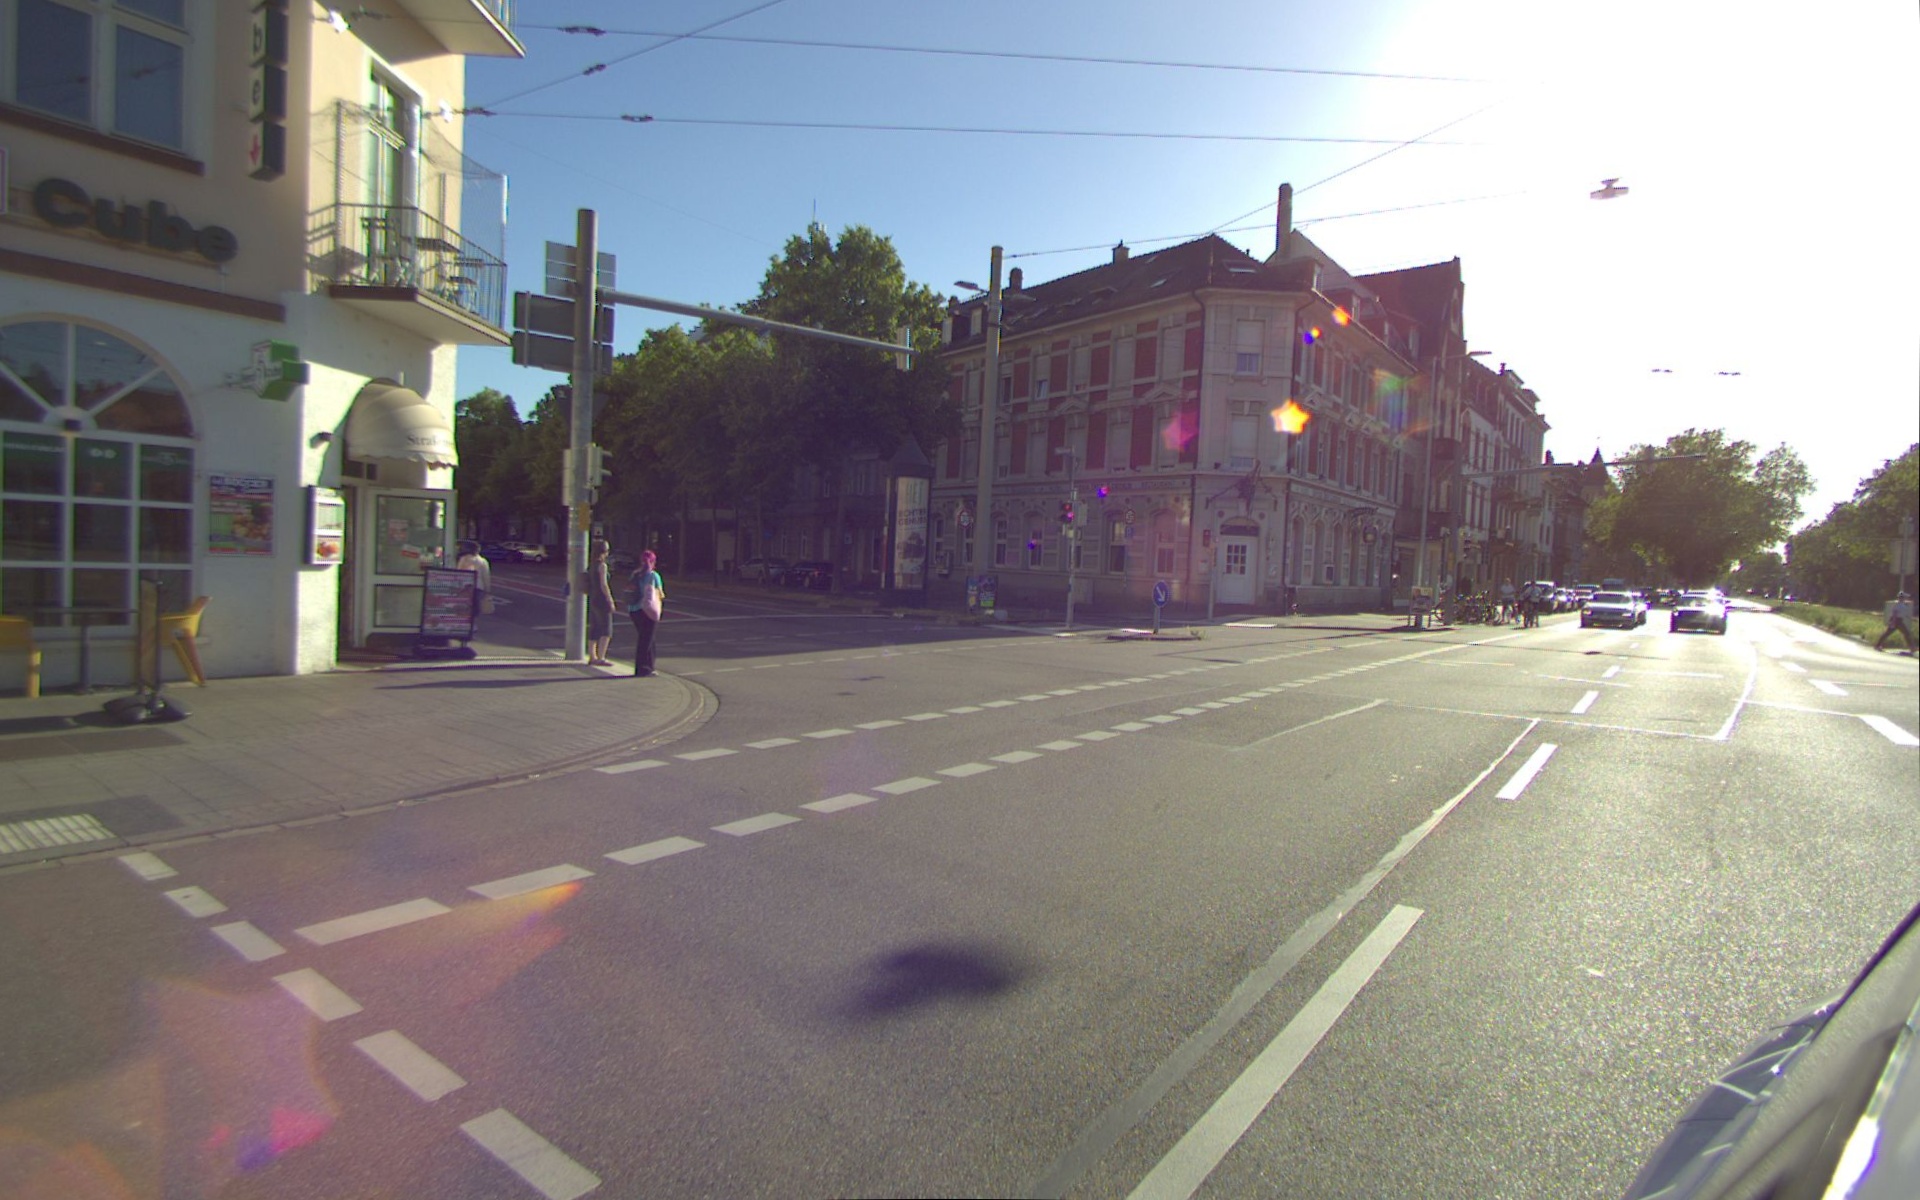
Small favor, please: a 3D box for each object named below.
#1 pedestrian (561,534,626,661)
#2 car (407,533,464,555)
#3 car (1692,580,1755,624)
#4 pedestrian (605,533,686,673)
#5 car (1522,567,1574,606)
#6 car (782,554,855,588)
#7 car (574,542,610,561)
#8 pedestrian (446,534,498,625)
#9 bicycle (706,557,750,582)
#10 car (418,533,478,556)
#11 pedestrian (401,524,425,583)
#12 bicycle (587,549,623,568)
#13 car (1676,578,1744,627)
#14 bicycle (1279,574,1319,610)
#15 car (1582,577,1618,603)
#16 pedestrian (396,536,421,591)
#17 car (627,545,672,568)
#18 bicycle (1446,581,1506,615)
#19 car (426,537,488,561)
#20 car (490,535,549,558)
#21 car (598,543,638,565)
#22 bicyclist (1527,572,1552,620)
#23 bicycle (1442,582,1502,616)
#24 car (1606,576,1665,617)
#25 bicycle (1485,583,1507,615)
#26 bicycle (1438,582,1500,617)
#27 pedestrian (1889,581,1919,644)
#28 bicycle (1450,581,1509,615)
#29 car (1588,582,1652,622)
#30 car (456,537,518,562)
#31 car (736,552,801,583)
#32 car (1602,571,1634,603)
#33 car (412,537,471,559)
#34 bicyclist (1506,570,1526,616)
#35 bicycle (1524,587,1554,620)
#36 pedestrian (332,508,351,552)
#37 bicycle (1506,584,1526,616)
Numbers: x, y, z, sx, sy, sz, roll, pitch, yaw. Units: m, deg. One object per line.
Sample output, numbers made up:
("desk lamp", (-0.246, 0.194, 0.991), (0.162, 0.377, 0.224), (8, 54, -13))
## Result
("pedestrian", (-4.973, -0.035, 13.719), (0.621, 1.662, 0.552), (2, 2, -39))
("car", (-42.111, -4.504, 81.268), (3.916, 1.564, 2.005), (1, 3, -24))
("car", (32.451, 0.044, 43.053), (1.945, 1.688, 3.947), (4, 3, 37))
("pedestrian", (-3.912, 0.039, 12.586), (0.665, 1.661, 0.578), (4, 1, -39))
("car", (33.124, -0.785, 56.927), (1.945, 1.988, 4.360), (4, 3, 37))
("car", (-7.278, -1.515, 51.718), (1.963, 1.515, 4.033), (0, 4, -38))
("car", (-31.564, -4.162, 86.774), (1.962, 1.515, 4.037), (1, 3, -34))
("pedestrian", (-8.606, -0.365, 17.855), (0.682, 1.542, 0.660), (1, 3, -37))
("bicycle", (-10.900, -1.437, 47.520), (1.913, 1.080, 0.583), (3, 2, 2))
("car", (-38.271, -4.141, 75.739), (3.916, 1.564, 2.005), (1, 3, -24))
("pedestrian", (-17.471, -1.495, 32.334), (0.570, 1.858, 0.633), (1, 3, -36))
("bicycle", (-21.336, -2.484, 60.817), (1.913, 1.080, 0.583), (3, 2, 2))
("car", (28.863, 0.059, 38.958), (1.945, 1.688, 3.947), (4, 3, 37))
("bicycle", (11.906, -0.274, 35.473), (0.544, 1.205, 1.937), (5, 3, 42))
("car", (50.969, -0.830, 80.575), (1.945, 1.884, 4.739), (4, 3, 37))
("pedestrian", (-16.942, -1.116, 31.093), (0.543, 1.661, 0.537), (0, 3, -41))
("car", (-22.458, -3.169, 73.131), (1.962, 1.515, 4.037), (1, 3, -34))
("bicycle", (20.339, -0.109, 39.941), (1.959, 1.205, 0.670), (5, 3, 39))
("car", (-36.480, -3.701, 73.564), (3.916, 1.564, 2.005), (1, 3, -24))
("car", (-32.559, -3.958, 74.900), (3.916, 1.564, 2.005), (1, 3, -21))
("car", (-27.316, -3.675, 80.739), (1.962, 1.515, 4.037), (1, 3, -34))
("bicyclist", (21.983, -0.167, 38.396), (0.599, 1.785, 0.863), (4, 3, 40))
("bicycle", (19.945, -0.064, 39.431), (1.959, 1.205, 0.670), (5, 3, 39))
("car", (30.951, -0.180, 46.302), (1.945, 1.688, 3.947), (4, 3, 37))
("bicycle", (21.810, -0.066, 41.197), (0.673, 1.205, 1.950), (4, 3, 26))
("bicycle", (19.540, -0.049, 38.864), (1.959, 1.205, 0.670), (5, 3, 39))
("pedestrian", (26.445, 0.358, 27.964), (0.932, 1.689, 0.710), (4, 3, 31))
("bicycle", (20.752, -0.098, 40.468), (1.959, 1.205, 0.670), (5, 3, 39))
("car", (26.664, 0.052, 40.863), (1.836, 1.429, 3.947), (4, 3, 37))
("car", (-33.574, -3.599, 71.905), (3.916, 1.564, 2.005), (1, 3, -24))
("car", (-10.759, -1.855, 56.754), (1.963, 1.515, 4.033), (0, 4, -38))
("car", (64.446, -1.296, 99.173), (2.185, 2.944, 5.896), (4, 3, 30))
("car", (-39.849, -4.013, 77.879), (3.916, 1.564, 2.005), (1, 3, -24))
("bicyclist", (22.261, -0.307, 40.510), (0.596, 1.785, 0.897), (4, 3, 28))
("bicycle", (22.015, 0.115, 38.452), (0.599, 1.205, 1.939), (4, 3, 40))
("pedestrian", (-28.160, -3.180, 46.063), (0.671, 1.931, 0.633), (1, 3, -36))
("bicycle", (22.270, -0.012, 40.570), (0.596, 1.205, 1.948), (4, 3, 28))
